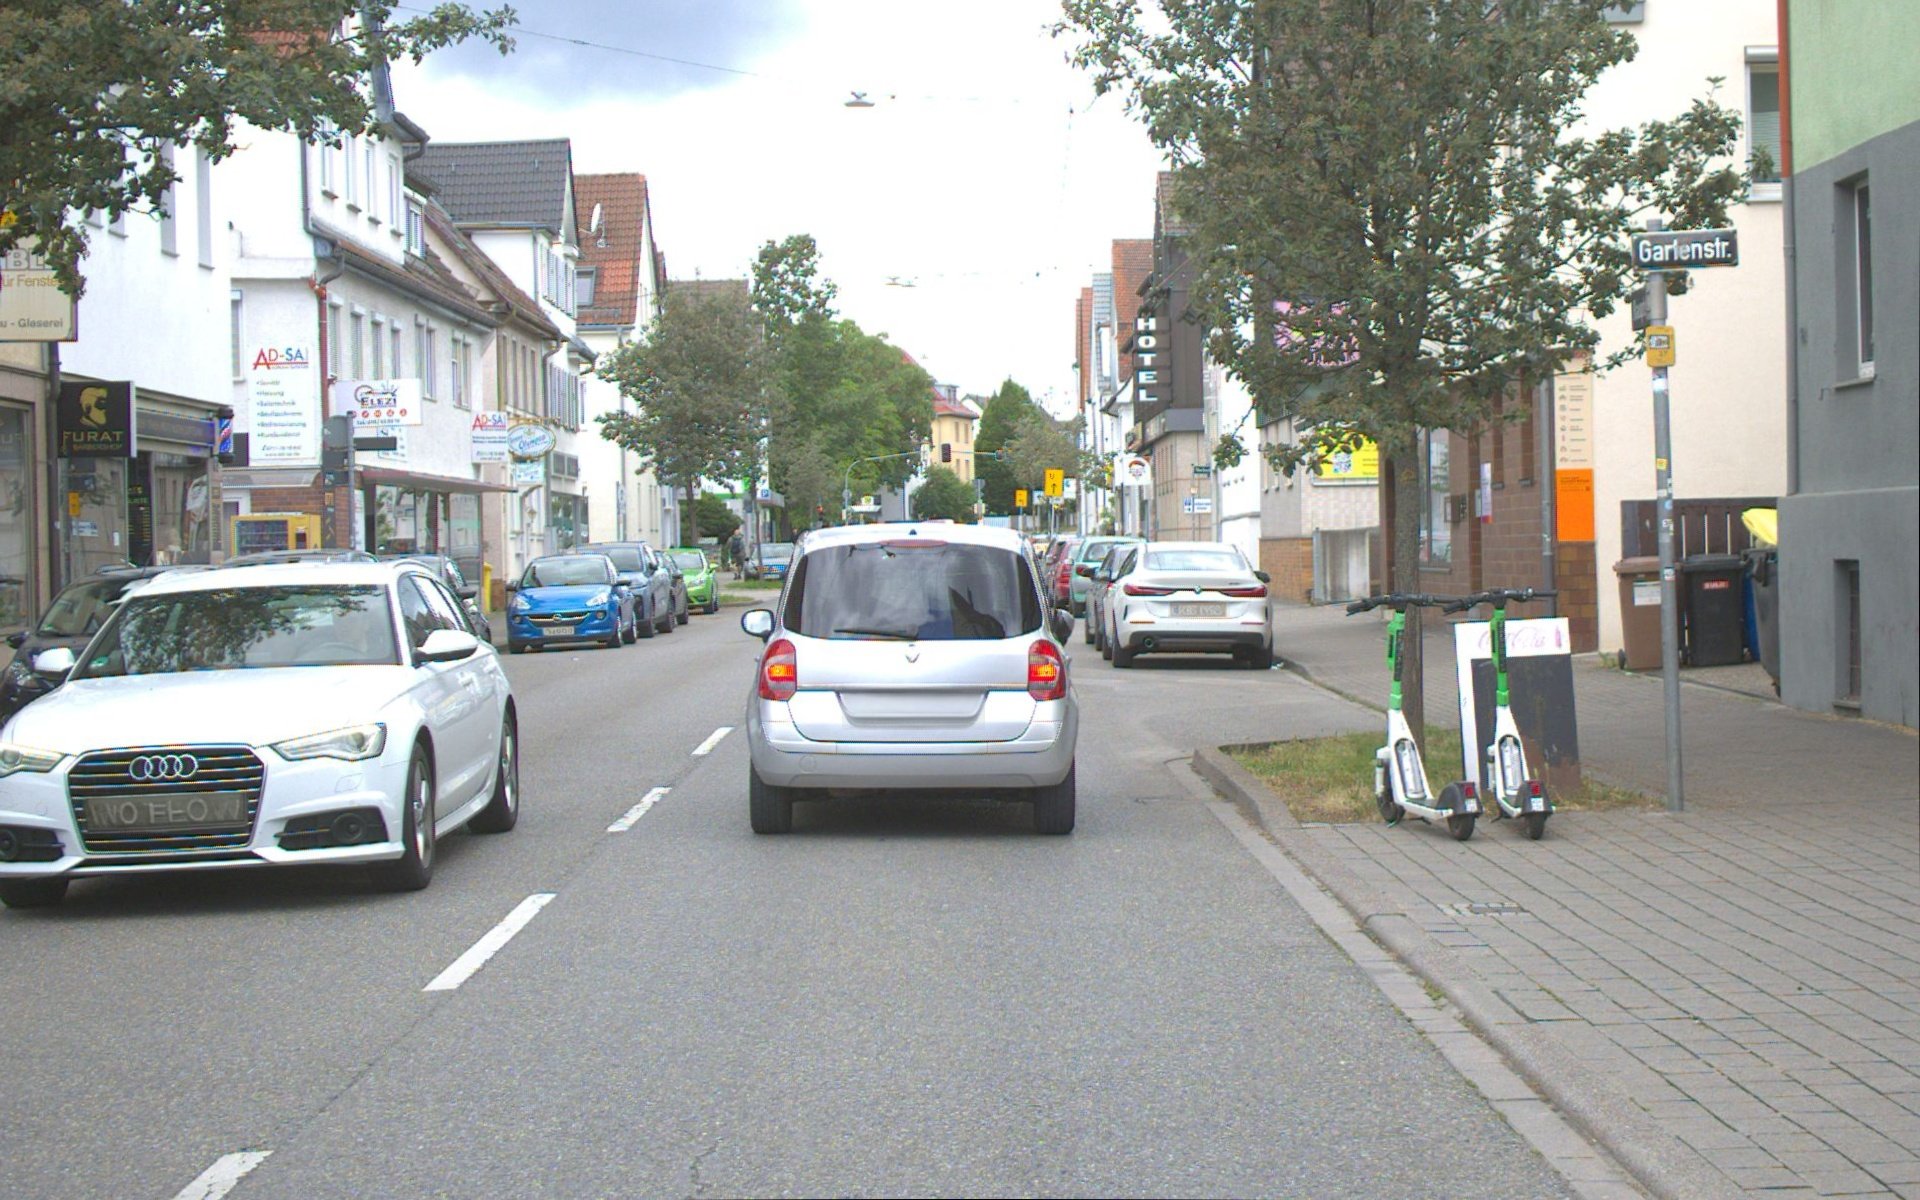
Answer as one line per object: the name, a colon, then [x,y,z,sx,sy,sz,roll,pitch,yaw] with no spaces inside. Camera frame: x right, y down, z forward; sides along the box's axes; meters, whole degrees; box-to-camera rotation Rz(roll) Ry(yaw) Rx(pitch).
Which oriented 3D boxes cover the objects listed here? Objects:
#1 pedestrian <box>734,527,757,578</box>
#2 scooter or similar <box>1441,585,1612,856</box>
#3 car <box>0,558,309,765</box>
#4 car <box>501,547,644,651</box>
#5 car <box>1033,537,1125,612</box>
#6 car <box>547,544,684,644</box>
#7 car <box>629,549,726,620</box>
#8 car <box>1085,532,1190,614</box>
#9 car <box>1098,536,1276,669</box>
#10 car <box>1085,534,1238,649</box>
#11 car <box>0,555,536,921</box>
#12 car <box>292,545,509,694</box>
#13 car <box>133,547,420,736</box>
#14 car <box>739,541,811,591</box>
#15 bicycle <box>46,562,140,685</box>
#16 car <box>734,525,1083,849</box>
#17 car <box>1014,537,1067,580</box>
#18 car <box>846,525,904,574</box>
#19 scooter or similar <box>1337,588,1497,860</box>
pedestrian: [-7.530,-1.656,120.578,0.762,1.785,0.890,0,1,0]
scooter or similar: [2.747,0.552,16.816,0.502,1.231,1.942,0,1,0]
car: [-6.264,0.420,26.621,1.682,1.420,3.931,-2,1,-1]
car: [-5.966,-0.046,53.272,1.682,1.494,3.775,-2,1,1]
car: [2.378,-0.534,69.547,1.755,1.441,4.455,0,1,1]
car: [-5.901,-0.132,59.300,1.803,1.593,4.304,-2,1,1]
car: [-6.158,-0.367,75.223,1.682,1.442,4.020,-2,1,1]
car: [3.317,-0.529,64.825,1.831,1.492,3.993,0,1,1]
car: [2.571,-0.003,39.786,1.831,1.441,4.332,0,1,1]
car: [2.620,-0.134,45.551,1.831,1.441,4.110,0,1,1]
car: [-3.239,0.538,16.284,1.843,1.428,4.543,-2,1,0]
car: [-6.071,0.177,37.655,1.682,1.488,3.591,-2,1,1]
car: [-6.213,0.327,31.670,1.710,1.560,4.113,-2,1,1]
car: [-5.896,-1.102,110.009,1.948,1.462,4.516,-3,1,1]
bicycle: [-8.985,0.229,35.694,0.502,1.231,1.942,0,1,0]
car: [-0.223,0.391,18.666,1.682,1.560,3.993,0,1,1]
car: [2.734,-1.423,117.679,1.700,1.462,4.239,0,1,0]
car: [-3.123,-1.859,126.447,1.900,1.731,4.366,-2,1,1]
scooter or similar: [2.212,0.567,16.812,0.502,1.231,1.942,0,1,0]
